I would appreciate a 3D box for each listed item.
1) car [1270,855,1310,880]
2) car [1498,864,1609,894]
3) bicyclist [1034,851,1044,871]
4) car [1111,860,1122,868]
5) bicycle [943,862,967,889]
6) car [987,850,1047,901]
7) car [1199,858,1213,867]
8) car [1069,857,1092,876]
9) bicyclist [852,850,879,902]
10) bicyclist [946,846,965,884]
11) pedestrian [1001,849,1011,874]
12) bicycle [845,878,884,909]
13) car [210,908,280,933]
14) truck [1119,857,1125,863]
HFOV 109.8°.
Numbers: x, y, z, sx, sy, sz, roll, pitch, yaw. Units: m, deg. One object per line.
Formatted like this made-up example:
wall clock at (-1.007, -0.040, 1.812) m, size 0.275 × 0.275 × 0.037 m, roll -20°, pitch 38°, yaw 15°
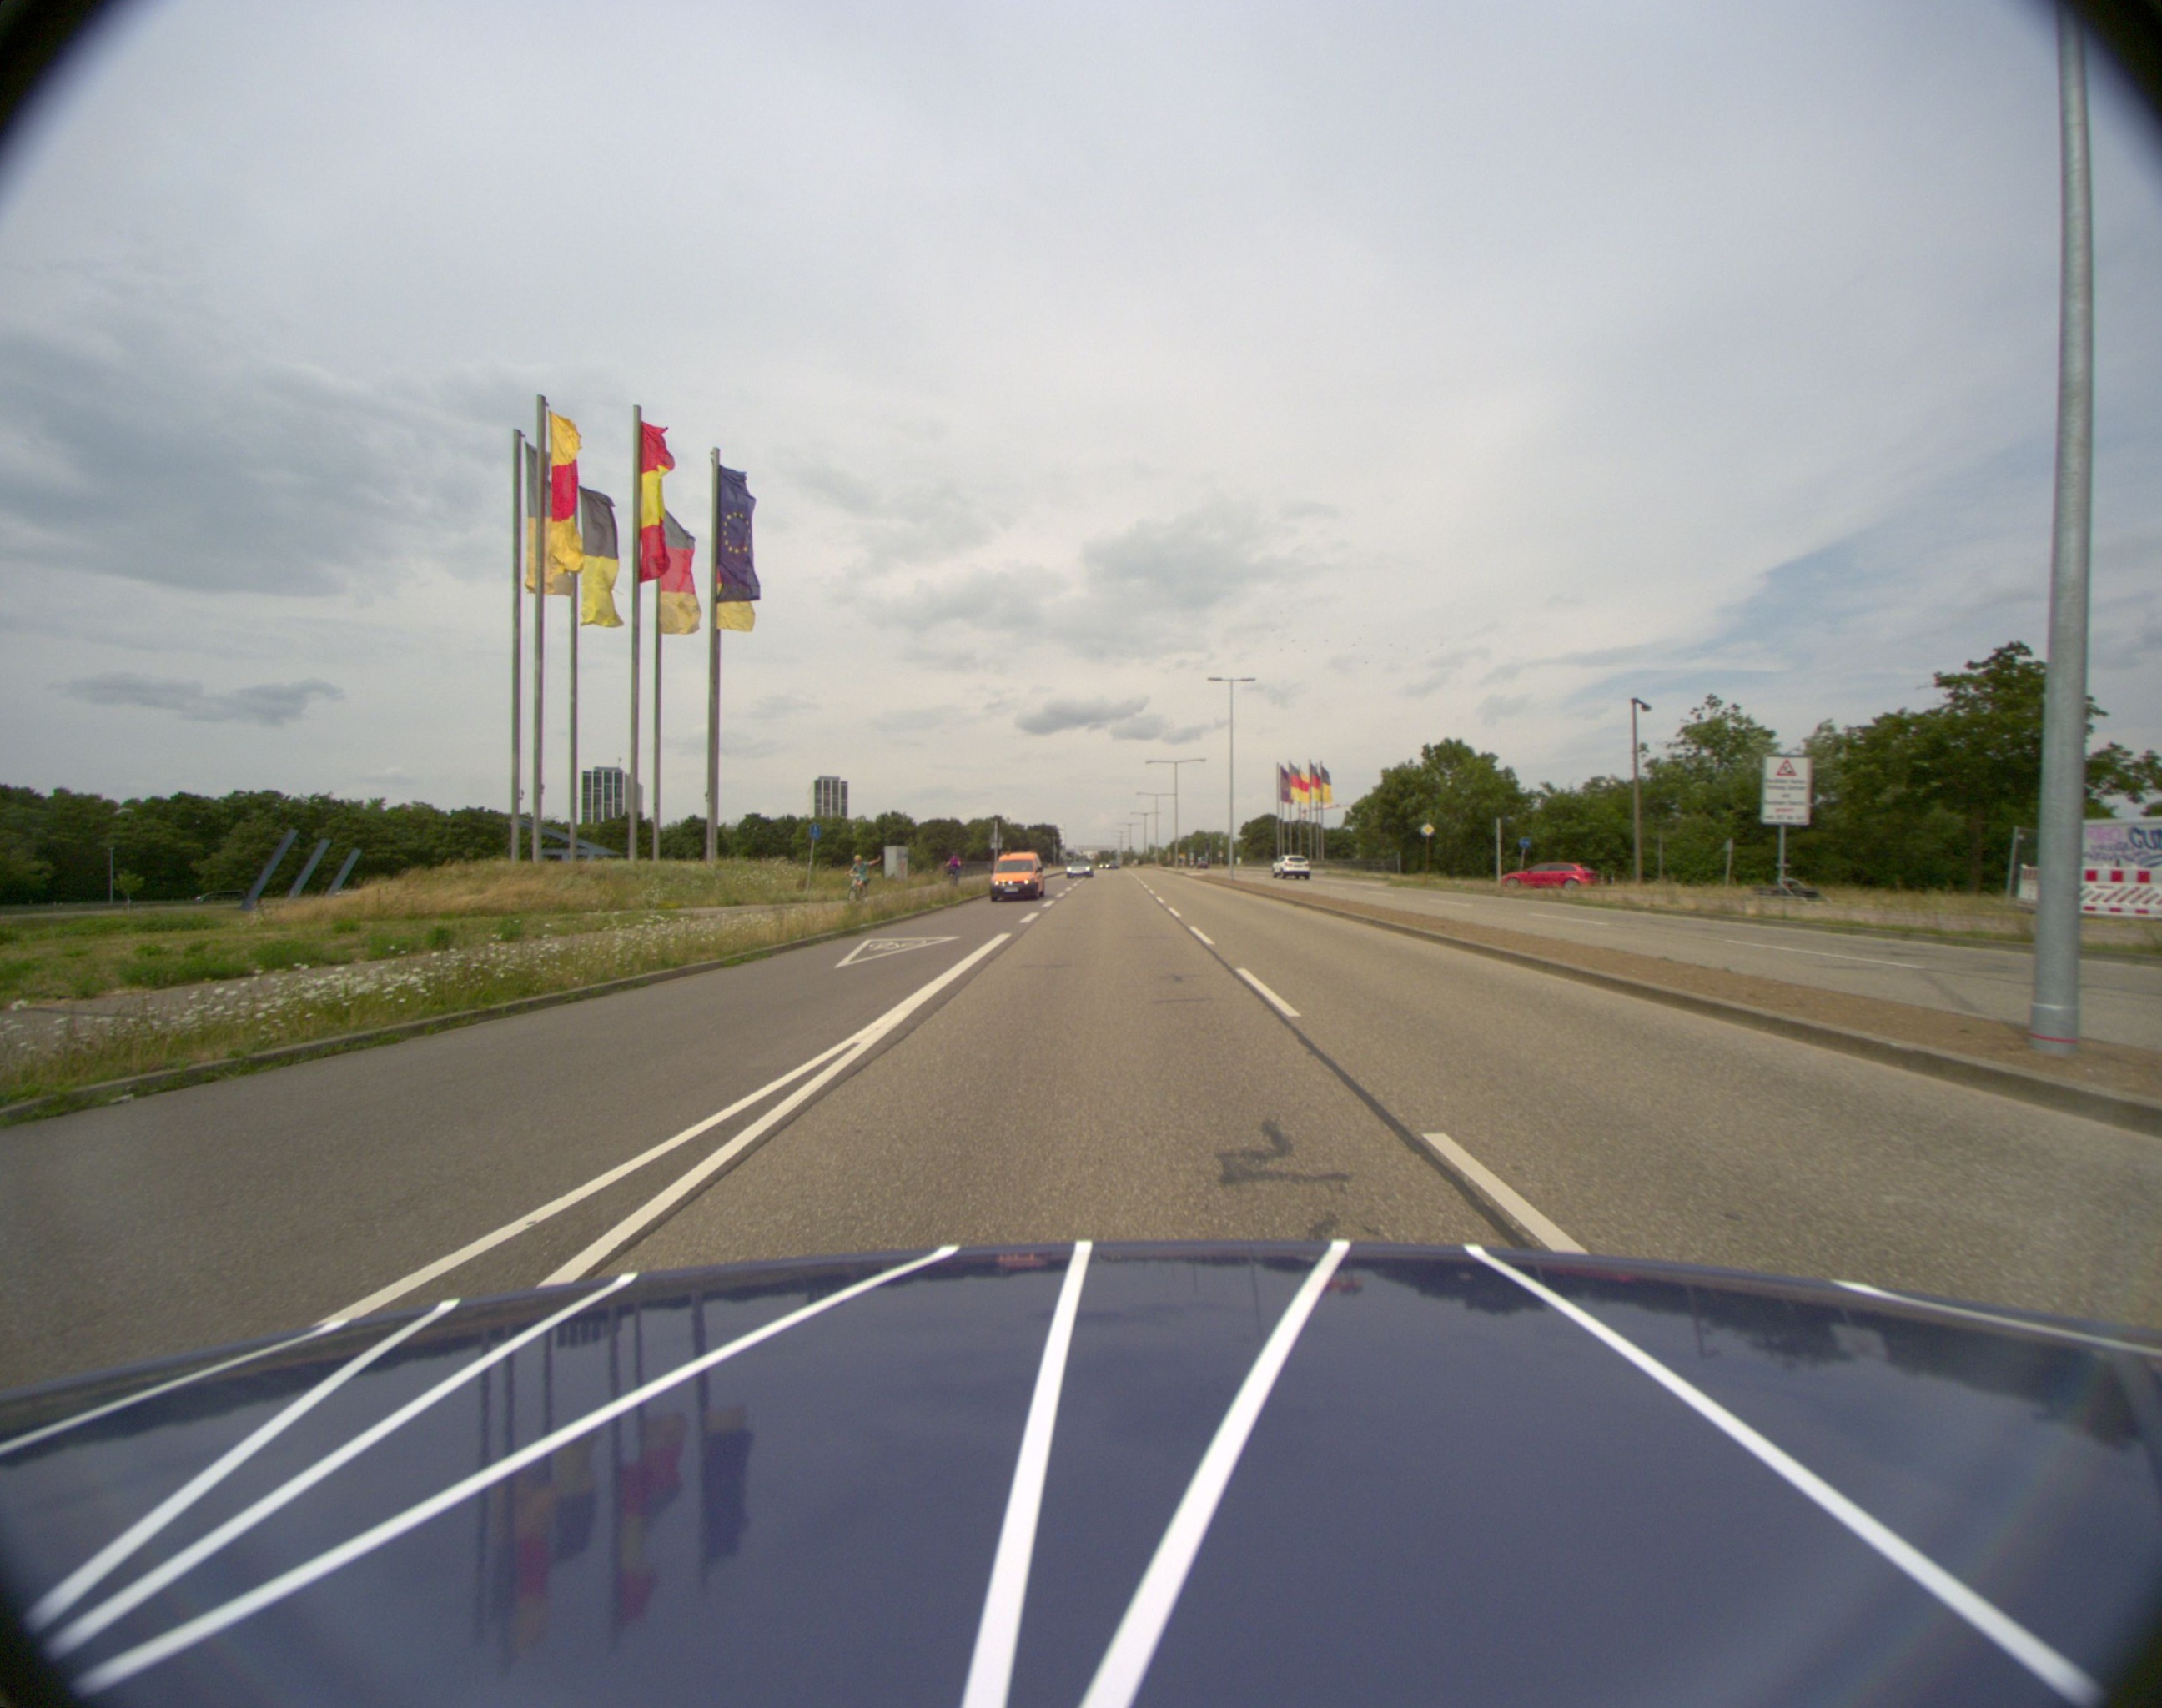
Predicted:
car at (14.124, 0.892, 51.552) m, size 1.698 × 1.619 × 4.385 m, roll -1°, pitch -1°, yaw 2°
car at (23.147, 1.220, 37.342) m, size 1.785 × 1.365 × 4.286 m, roll 0°, pitch -1°, yaw -37°
bicyclist at (-3.780, 0.661, 68.562) m, size 0.873 × 1.791 × 0.956 m, roll 0°, pitch 2°, yaw -5°
car at (5.851, 1.616, 125.092) m, size 1.558 × 1.229 × 3.470 m, roll -2°, pitch -1°, yaw 1°
bicycle at (-5.911, 0.986, 35.687) m, size 0.695 × 1.185 × 2.461 m, roll 0°, pitch 0°, yaw 0°
car at (-2.415, 0.823, 29.853) m, size 1.892 × 1.824 × 4.431 m, roll -2°, pitch -1°, yaw 1°
car at (21.207, 1.410, 128.662) m, size 1.997 × 1.365 × 4.579 m, roll 1°, pitch 0°, yaw 6°
car at (-0.091, 0.988, 58.655) m, size 1.695 × 1.403 × 3.684 m, roll -2°, pitch -1°, yaw -1°
bicyclist at (-6.977, 0.714, 24.633) m, size 0.623 × 1.656 × 0.669 m, roll 2°, pitch 0°, yaw 0°
bicyclist at (-5.910, 0.530, 35.757) m, size 0.705 × 1.745 × 0.991 m, roll 0°, pitch 0°, yaw 0°
pedestrian at (-6.213, 0.637, 63.040) m, size 0.628 × 2.001 × 0.668 m, roll 1°, pitch 0°, yaw 2°
bicycle at (-6.968, 1.240, 24.504) m, size 0.625 × 0.883 × 2.154 m, roll -1°, pitch 0°, yaw 0°
car at (-76.592, 6.079, 69.649) m, size 4.000 × 2.001 × 1.877 m, roll -1°, pitch -1°, yaw -9°
truck at (14.192, 2.106, 263.599) m, size 1.998 × 2.001 × 4.001 m, roll -1°, pitch -1°, yaw 1°
